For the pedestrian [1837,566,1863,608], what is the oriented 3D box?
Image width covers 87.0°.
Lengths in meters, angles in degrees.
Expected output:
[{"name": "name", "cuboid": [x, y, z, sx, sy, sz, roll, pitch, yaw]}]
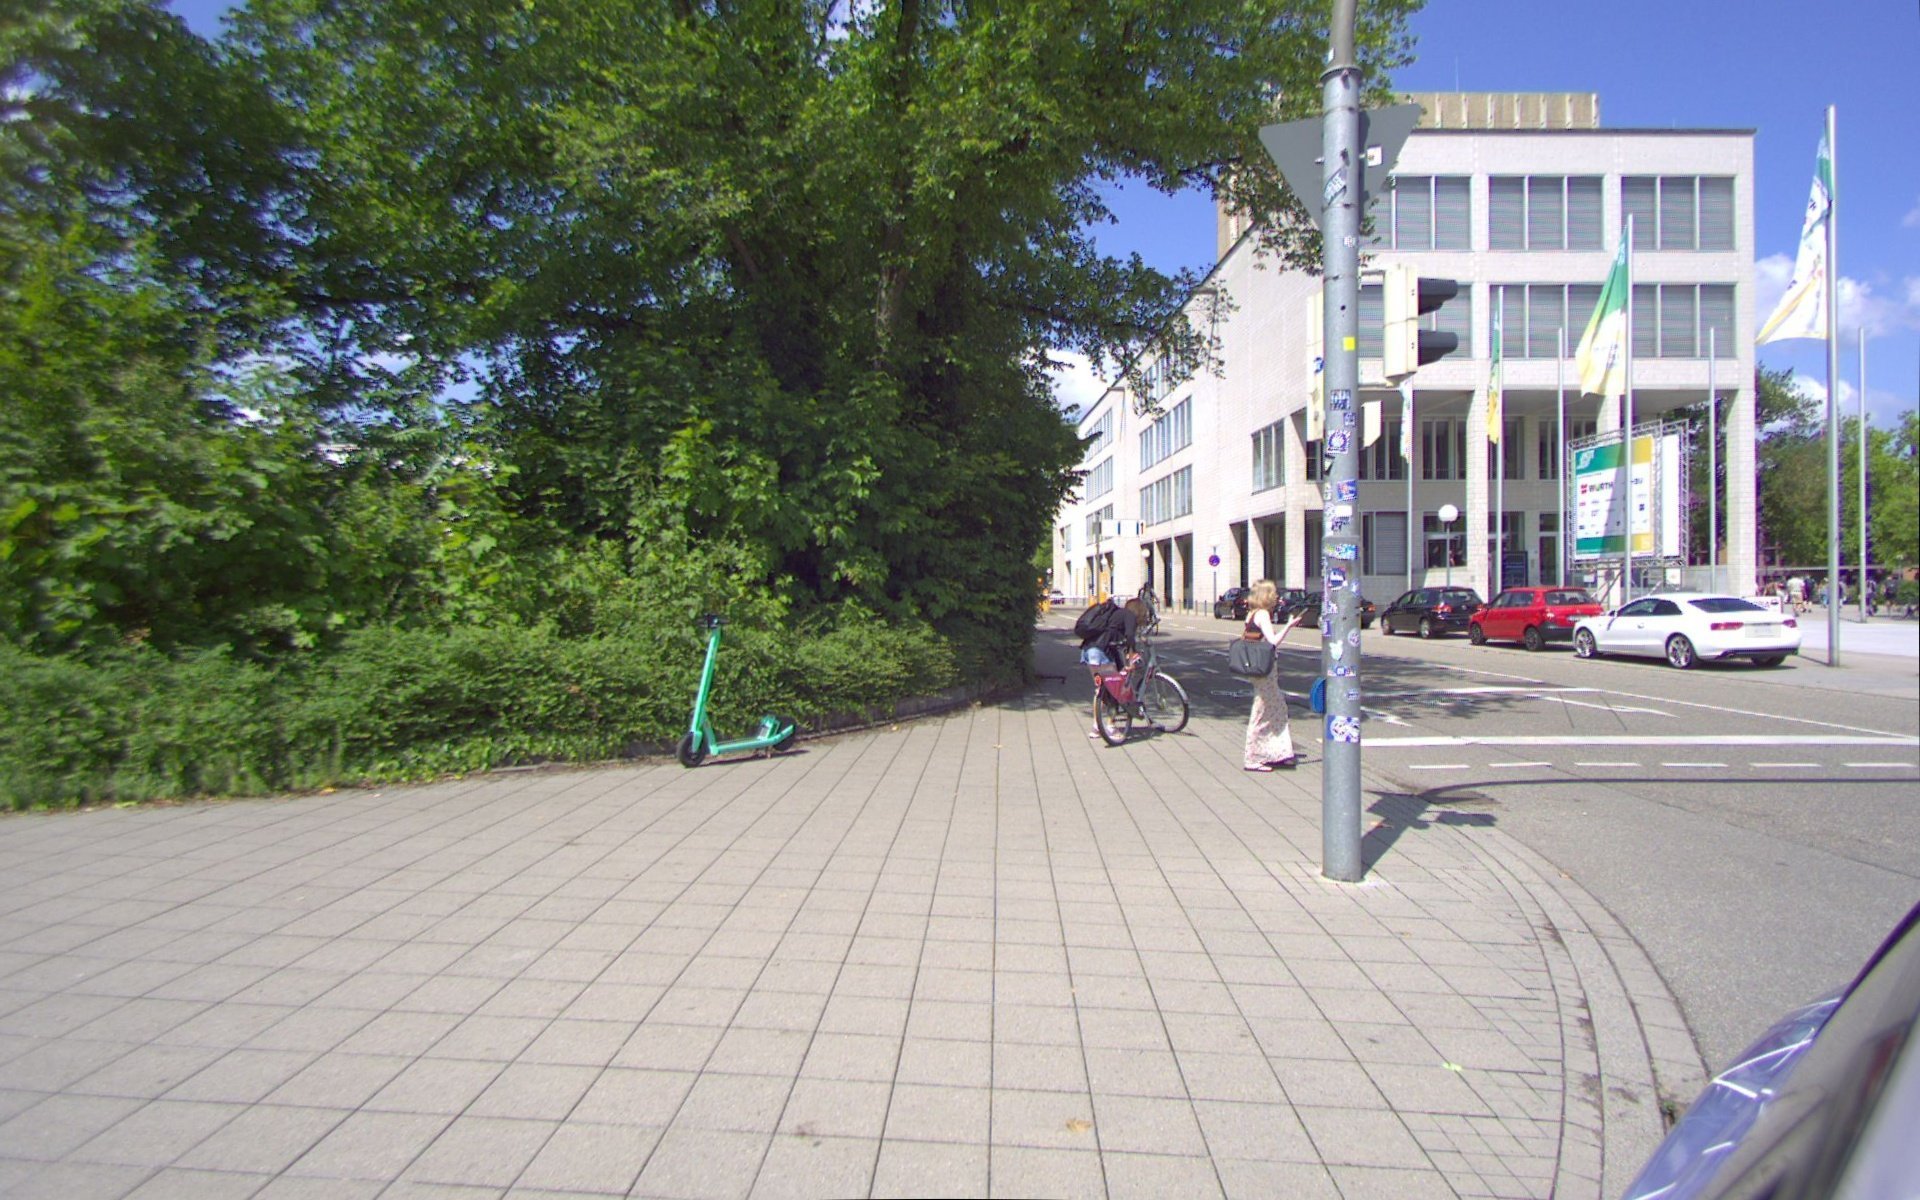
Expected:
[{"name": "pedestrian", "cuboid": [40.706, -0.592, 46.266, 0.786, 1.926, 0.675, -1, 0, -32]}]

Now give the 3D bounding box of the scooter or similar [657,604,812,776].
[{"name": "scooter or similar", "cuboid": [-1.796, 0.675, 8.171, 0.435, 1.249, 1.214, 2, 1, 38]}]

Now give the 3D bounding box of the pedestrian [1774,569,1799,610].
[{"name": "pedestrian", "cuboid": [38.859, -0.502, 47.579, 0.786, 1.926, 0.675, -1, 0, -32]}]

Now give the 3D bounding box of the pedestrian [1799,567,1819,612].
[{"name": "pedestrian", "cuboid": [33.243, -0.404, 39.629, 0.375, 1.735, 0.473, -1, 0, -32]}]

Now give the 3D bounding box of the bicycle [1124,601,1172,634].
[{"name": "bicycle", "cuboid": [6.048, 0.545, 32.722, 0.634, 1.011, 2.168, 0, 0, -15]}]

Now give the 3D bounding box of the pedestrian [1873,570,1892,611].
[{"name": "pedestrian", "cuboid": [35.343, -0.354, 38.783, 0.470, 1.555, 0.554, -1, 0, 39]}]

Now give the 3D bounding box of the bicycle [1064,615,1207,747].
[{"name": "bicycle", "cuboid": [1.766, 0.746, 10.013, 0.668, 1.157, 1.640, 2, 1, 38]}]

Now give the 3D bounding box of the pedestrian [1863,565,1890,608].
[{"name": "pedestrian", "cuboid": [41.253, -0.606, 45.552, 0.786, 1.926, 0.675, -1, 0, -32]}]

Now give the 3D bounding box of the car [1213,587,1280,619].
[{"name": "car", "cuboid": [13.119, 0.113, 46.620, 1.658, 1.414, 4.150, -1, 0, -4]}]

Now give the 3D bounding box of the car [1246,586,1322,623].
[{"name": "car", "cuboid": [13.499, 0.157, 42.328, 1.765, 1.448, 3.720, -1, 0, -4]}]

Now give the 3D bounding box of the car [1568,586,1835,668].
[{"name": "car", "cuboid": [14.235, 0.450, 19.823, 1.798, 1.415, 4.445, 0, 0, -3]}]

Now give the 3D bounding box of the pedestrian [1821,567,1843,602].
[{"name": "pedestrian", "cuboid": [47.759, -0.845, 55.422, 0.786, 1.926, 0.675, -1, 0, -32]}]

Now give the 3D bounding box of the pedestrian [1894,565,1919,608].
[{"name": "pedestrian", "cuboid": [42.389, -0.597, 45.290, 0.786, 1.926, 0.675, -1, 0, -32]}]

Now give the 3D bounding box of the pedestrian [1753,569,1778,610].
[{"name": "pedestrian", "cuboid": [38.264, -0.492, 48.097, 0.786, 1.926, 0.675, -1, 0, -32]}]

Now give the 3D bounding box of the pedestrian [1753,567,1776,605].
[{"name": "pedestrian", "cuboid": [41.505, -0.727, 52.217, 0.786, 1.926, 0.675, -1, 0, -32]}]

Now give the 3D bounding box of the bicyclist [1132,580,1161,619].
[{"name": "bicyclist", "cuboid": [6.002, -0.031, 32.650, 0.605, 1.241, 0.835, 0, 0, -15]}]

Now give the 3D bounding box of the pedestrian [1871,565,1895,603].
[{"name": "pedestrian", "cuboid": [47.421, -0.808, 51.999, 0.786, 1.926, 0.675, -1, 0, -32]}]

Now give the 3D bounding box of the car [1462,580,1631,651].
[{"name": "car", "cuboid": [14.291, 0.335, 24.929, 1.738, 1.576, 3.820, -1, 0, -4]}]

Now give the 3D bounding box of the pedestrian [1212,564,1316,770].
[{"name": "pedestrian", "cuboid": [2.565, 0.532, 8.524, 0.642, 1.647, 0.627, -1, 0, 37]}]

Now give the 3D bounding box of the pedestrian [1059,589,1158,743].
[{"name": "pedestrian", "cuboid": [1.477, 0.615, 10.050, 0.652, 1.434, 0.777, 2, 1, 37]}]

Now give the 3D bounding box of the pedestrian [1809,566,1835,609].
[{"name": "pedestrian", "cuboid": [39.839, -0.578, 46.761, 0.786, 1.926, 0.675, -1, 0, -32]}]

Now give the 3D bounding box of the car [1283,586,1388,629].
[{"name": "car", "cuboid": [13.597, 0.245, 36.941, 1.962, 1.459, 4.404, -1, 0, -4]}]

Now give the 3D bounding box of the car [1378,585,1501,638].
[{"name": "car", "cuboid": [14.193, 0.310, 30.195, 1.709, 1.465, 3.931, -1, 0, -1]}]
